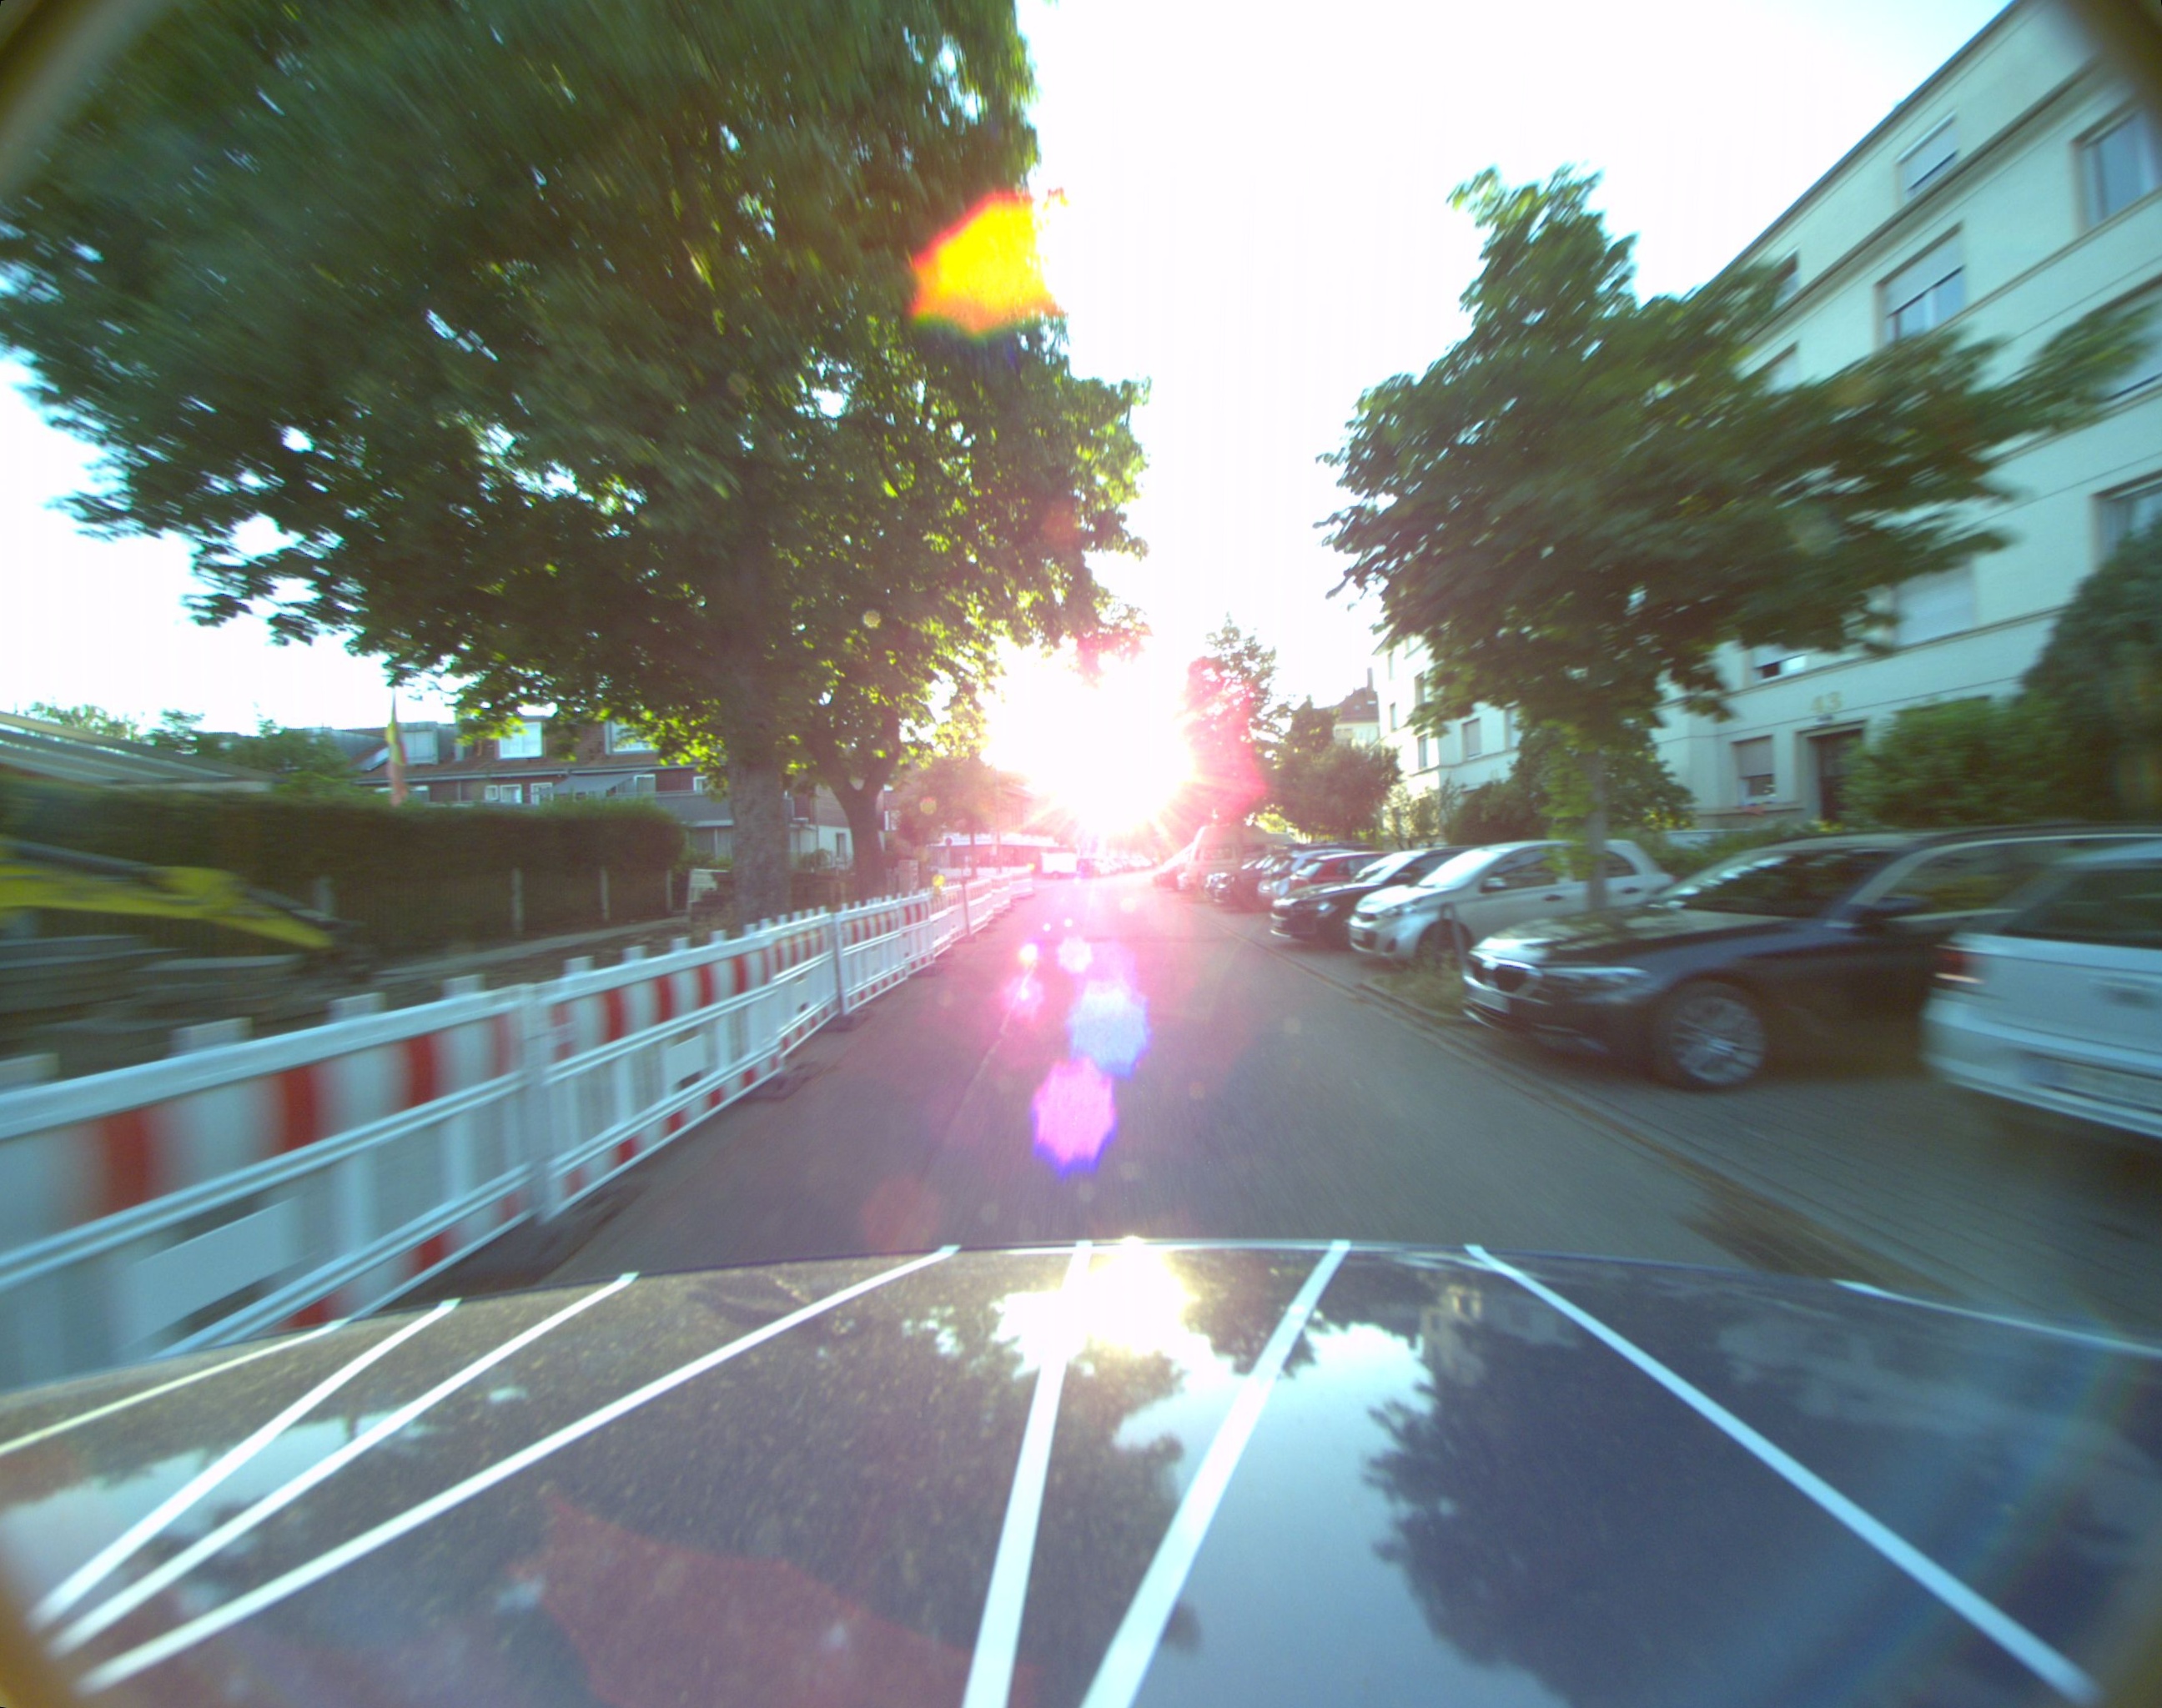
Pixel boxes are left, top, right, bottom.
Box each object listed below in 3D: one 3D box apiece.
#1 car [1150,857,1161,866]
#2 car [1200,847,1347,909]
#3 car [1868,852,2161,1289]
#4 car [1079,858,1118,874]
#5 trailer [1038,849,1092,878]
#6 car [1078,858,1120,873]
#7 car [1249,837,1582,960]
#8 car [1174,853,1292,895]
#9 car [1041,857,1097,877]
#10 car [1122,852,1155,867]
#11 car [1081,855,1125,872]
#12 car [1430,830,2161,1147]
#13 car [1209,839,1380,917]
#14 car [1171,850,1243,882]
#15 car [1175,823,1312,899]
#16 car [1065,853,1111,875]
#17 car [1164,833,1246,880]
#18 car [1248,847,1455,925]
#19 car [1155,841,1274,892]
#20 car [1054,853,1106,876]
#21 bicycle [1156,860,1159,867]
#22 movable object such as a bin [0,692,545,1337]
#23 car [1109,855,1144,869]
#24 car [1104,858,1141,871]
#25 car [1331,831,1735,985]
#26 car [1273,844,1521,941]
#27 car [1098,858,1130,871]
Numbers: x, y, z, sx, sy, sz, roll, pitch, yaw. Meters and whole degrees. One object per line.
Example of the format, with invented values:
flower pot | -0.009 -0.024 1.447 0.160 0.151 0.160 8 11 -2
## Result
car | 15.000 1.502 152.166 1.798 1.515 4.003 -2 0 10
car | 5.579 0.695 22.410 3.869 1.585 1.786 -2 0 3
car | 5.445 0.706 2.681 3.422 1.475 1.759 -2 0 2
car | 1.869 1.242 81.036 3.994 1.609 1.896 0 0 8
trailer | -1.302 0.781 62.135 3.994 2.174 2.001 -2 0 9
car | 1.971 1.255 83.750 4.422 1.565 1.983 1 -1 8
car | 5.146 0.646 12.069 4.419 1.605 1.899 -2 0 -4
car | 5.811 0.746 29.543 4.185 1.416 2.000 -2 0 2
car | -1.015 1.125 65.016 4.435 1.490 1.775 -2 0 9
car | 9.316 0.886 123.930 4.967 2.089 2.153 -3 1 15
car | 2.525 1.068 86.433 4.794 1.743 2.019 1 -1 9
car | 5.232 0.729 5.163 4.784 1.462 1.881 -4 1 0
car | 5.465 0.601 19.812 3.870 1.766 1.843 -2 0 -1
car | 7.048 0.663 42.762 3.811 1.513 1.653 -4 0 6
car | 5.707 0.253 27.174 4.512 2.416 2.001 -2 0 4
car | 0.702 0.899 71.060 3.994 1.892 2.001 -2 0 9
car | 7.496 0.162 46.259 4.741 2.554 2.001 -2 0 6
car | 6.036 0.699 17.248 3.998 1.515 1.789 -2 0 -3
car | 5.566 0.522 32.194 4.684 1.862 2.000 -2 0 2
car | -0.070 0.942 67.754 4.309 1.788 1.905 -2 0 9
bicycle | 13.161 1.653 130.113 0.357 1.093 1.973 -2 0 10
movable object such as a bin | -5.389 0.643 3.321 2.636 2.388 5.195 -2 0 -5
car | 6.499 1.117 108.700 4.593 1.851 2.014 3 1 12
car | 5.658 1.366 103.584 4.702 1.622 2.002 1 0 12
car | 5.462 0.606 9.525 3.998 1.569 1.801 -2 0 -4
car | 5.953 0.688 14.589 3.998 1.574 1.731 -2 0 -4
car | 4.330 1.342 98.982 3.993 1.537 1.846 1 0 10
